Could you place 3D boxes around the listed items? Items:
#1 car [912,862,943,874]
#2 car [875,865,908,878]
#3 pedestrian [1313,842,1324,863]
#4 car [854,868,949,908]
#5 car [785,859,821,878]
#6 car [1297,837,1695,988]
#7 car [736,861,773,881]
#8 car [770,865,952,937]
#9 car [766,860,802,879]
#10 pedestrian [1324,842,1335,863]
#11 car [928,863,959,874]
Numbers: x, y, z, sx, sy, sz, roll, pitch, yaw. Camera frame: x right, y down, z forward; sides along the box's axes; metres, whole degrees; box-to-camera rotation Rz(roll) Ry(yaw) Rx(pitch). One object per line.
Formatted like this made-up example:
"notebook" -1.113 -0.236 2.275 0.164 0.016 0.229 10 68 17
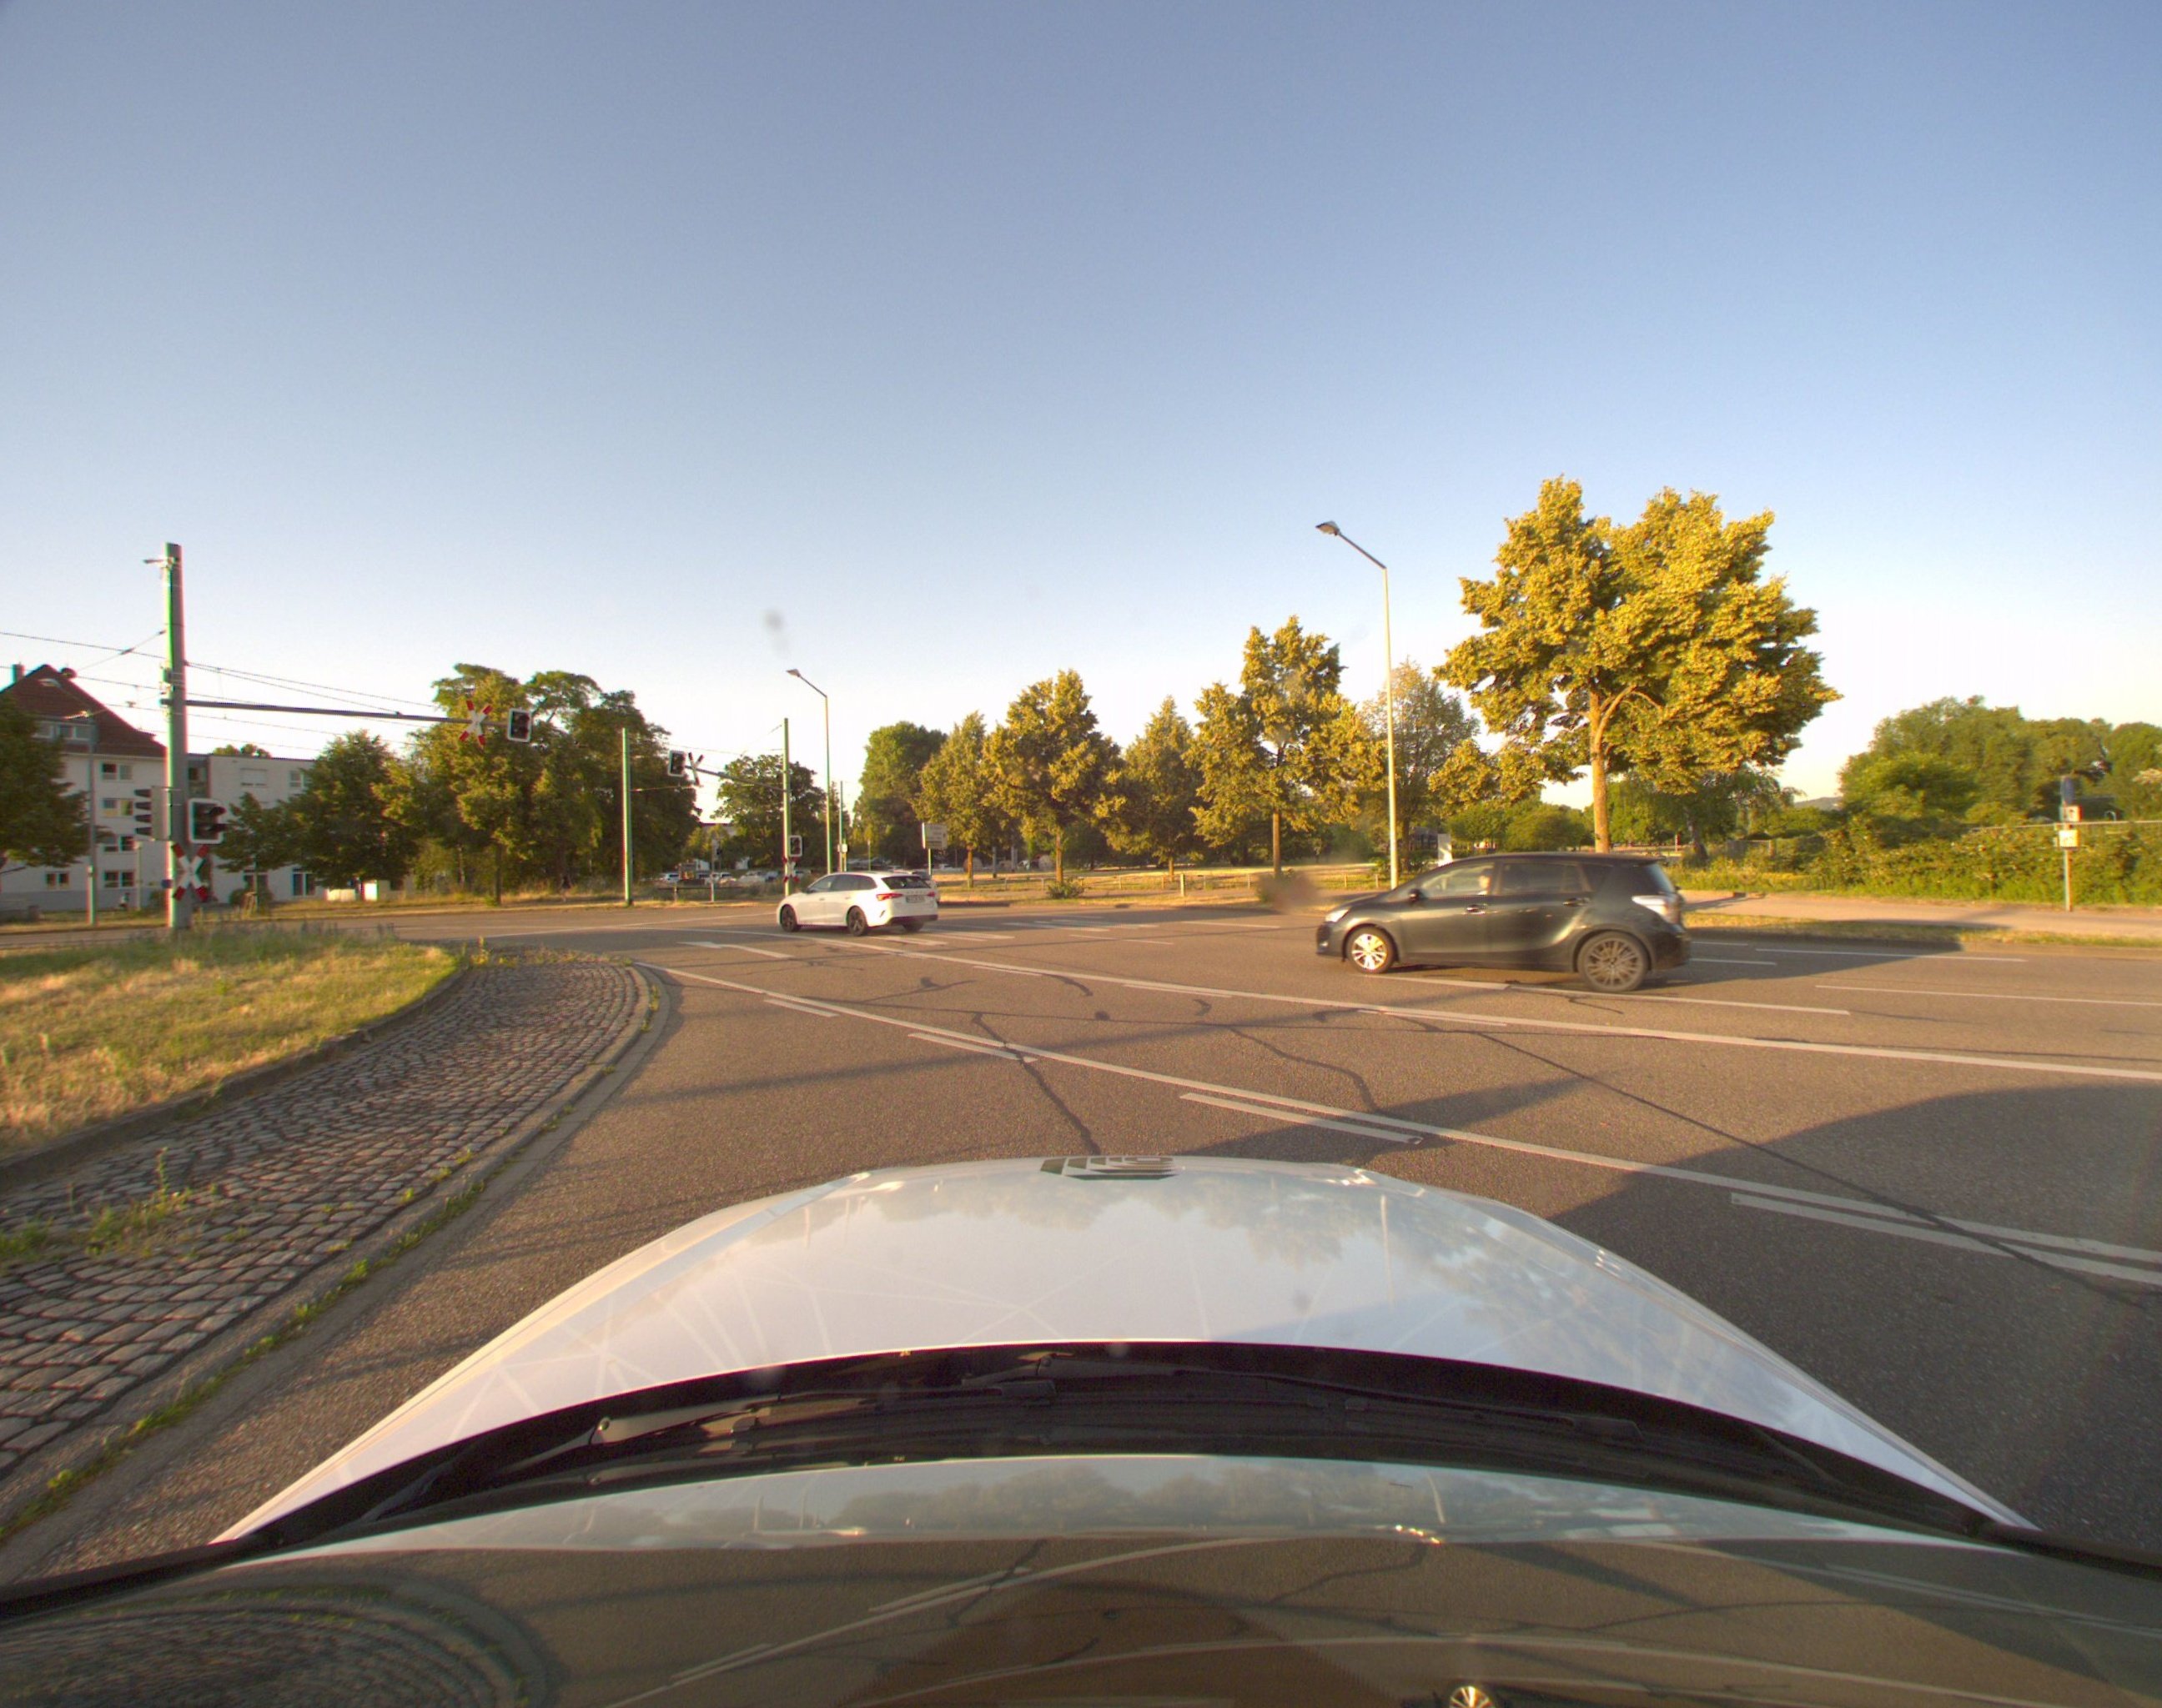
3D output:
"car" -21.617 2.025 114.747 3.948 1.551 2.013 -2 0 33
"car" -25.310 2.342 108.657 3.948 1.551 2.013 -2 0 33
"pedestrian" 18.578 -0.112 63.603 0.583 1.626 0.527 -1 0 -35
"car" -6.962 1.307 31.543 3.441 1.443 1.564 -2 -1 32
"car" -33.217 1.743 97.209 3.948 2.098 2.013 -2 0 34
"car" 5.359 0.689 10.841 4.398 1.633 1.815 -2 -1 35
"car" -37.049 1.929 92.467 3.948 2.098 2.013 -2 0 34
"car" -5.299 1.062 19.355 4.490 1.448 1.739 -2 0 37
"car" -34.721 1.821 95.167 3.948 2.098 2.013 -2 0 34
"pedestrian" 19.360 -0.146 63.483 0.524 1.626 0.624 -2 -1 45
"car" -19.722 2.101 116.814 3.948 1.551 2.013 -2 0 33
